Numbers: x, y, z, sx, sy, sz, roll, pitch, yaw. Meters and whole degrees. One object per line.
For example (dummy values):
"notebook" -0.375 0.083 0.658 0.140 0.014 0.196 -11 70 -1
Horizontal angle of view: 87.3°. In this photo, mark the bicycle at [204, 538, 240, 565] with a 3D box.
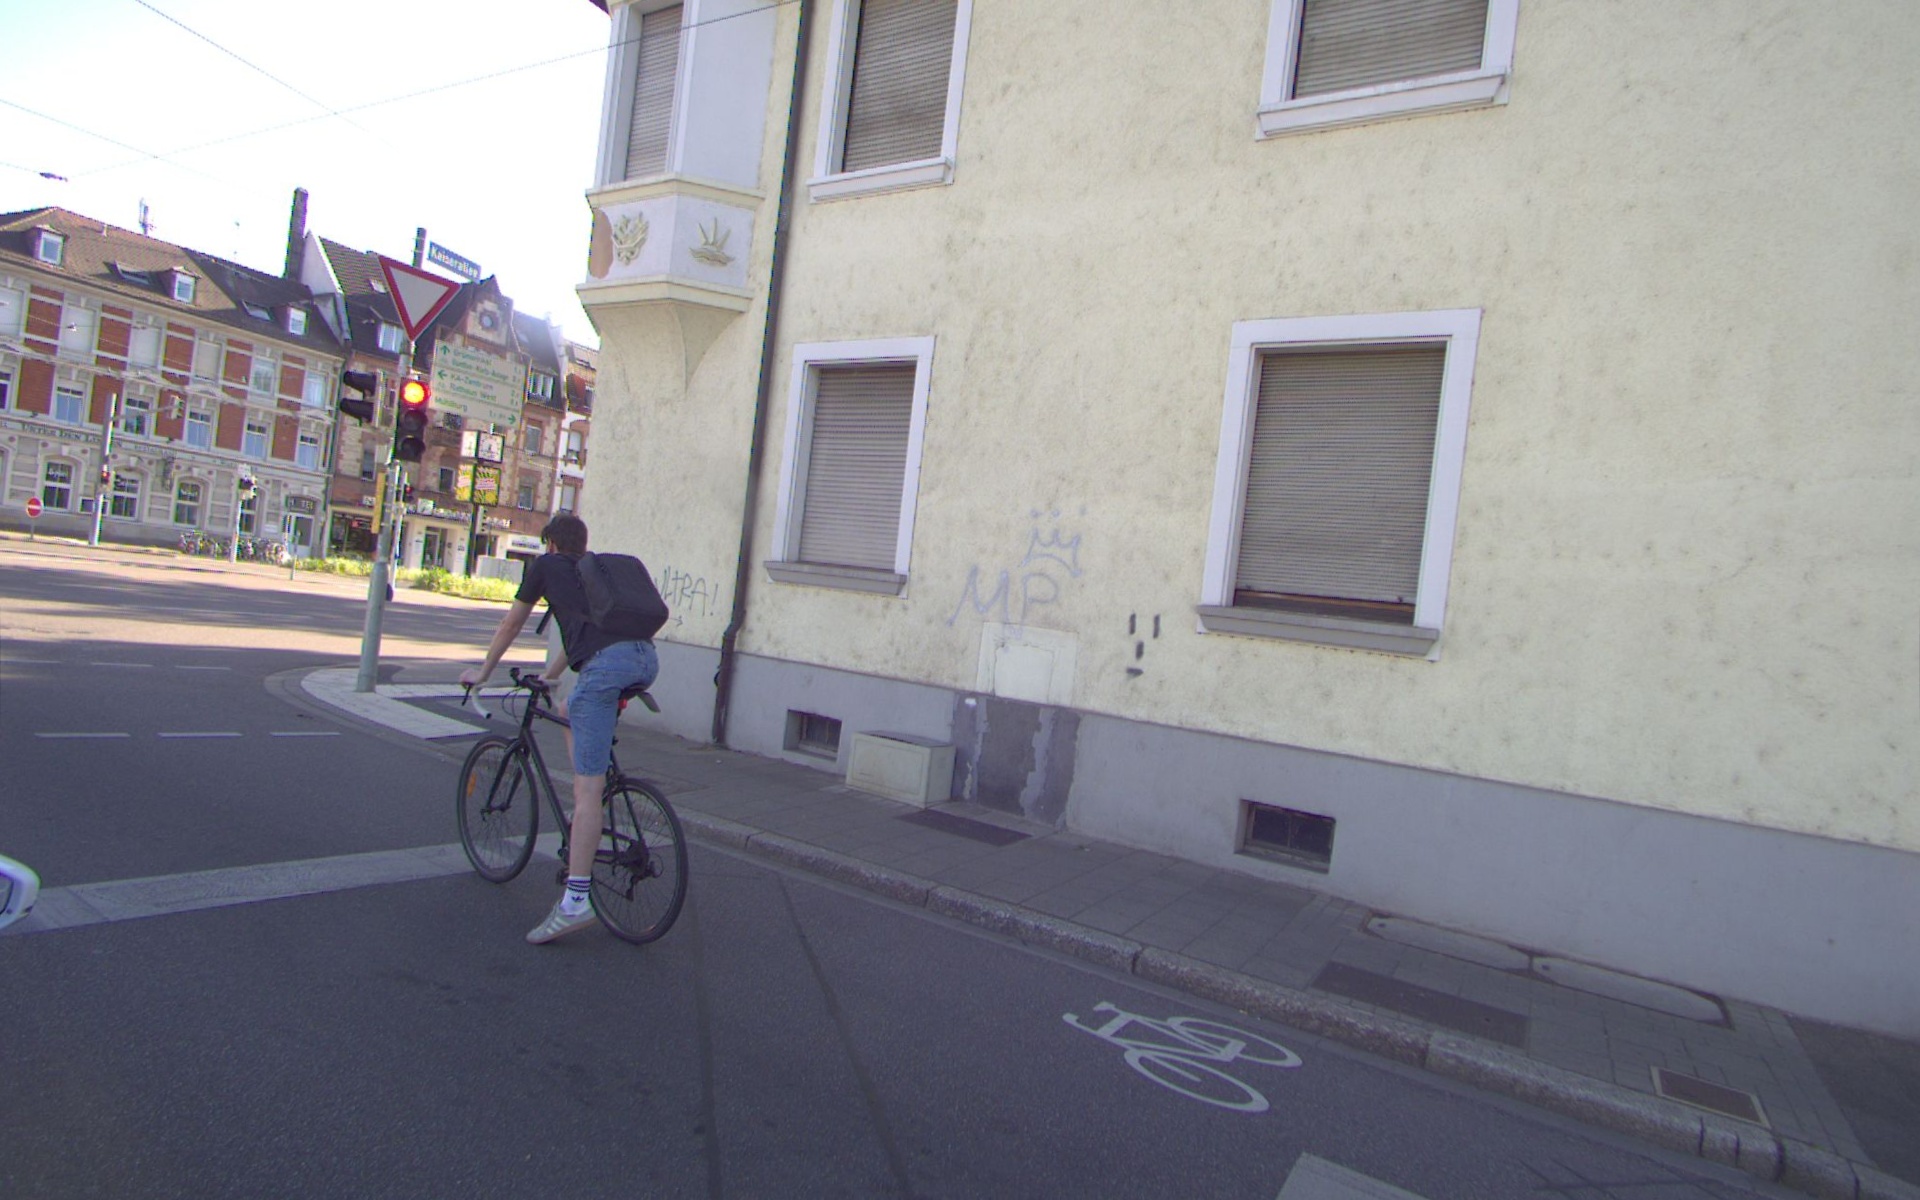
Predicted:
"bicycle" -34.303 -2.255 46.763 1.614 1.064 0.606 7 0 27

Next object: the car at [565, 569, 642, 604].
"car" -23.109 -0.854 65.300 1.966 1.674 4.378 7 -1 29

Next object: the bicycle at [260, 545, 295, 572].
"bicycle" -32.968 -2.006 48.581 1.614 1.064 0.606 7 0 27

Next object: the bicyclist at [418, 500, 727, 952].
"bicyclist" -1.730 0.494 4.479 1.066 1.751 0.561 6 -1 32

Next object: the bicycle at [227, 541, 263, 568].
"bicycle" -33.637 -2.144 47.333 1.614 1.064 0.606 7 0 27

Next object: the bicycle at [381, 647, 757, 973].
"bicycle" -1.786 0.837 4.483 1.729 1.029 0.532 7 0 32

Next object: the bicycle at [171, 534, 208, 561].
"bicycle" -34.933 -2.384 45.605 1.614 1.064 0.606 7 0 27

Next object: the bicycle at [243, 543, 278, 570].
"bicycle" -33.342 -2.081 47.943 1.614 1.064 0.606 7 0 27

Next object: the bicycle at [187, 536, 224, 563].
"bicycle" -34.633 -2.321 46.187 1.614 1.064 0.606 7 0 27
